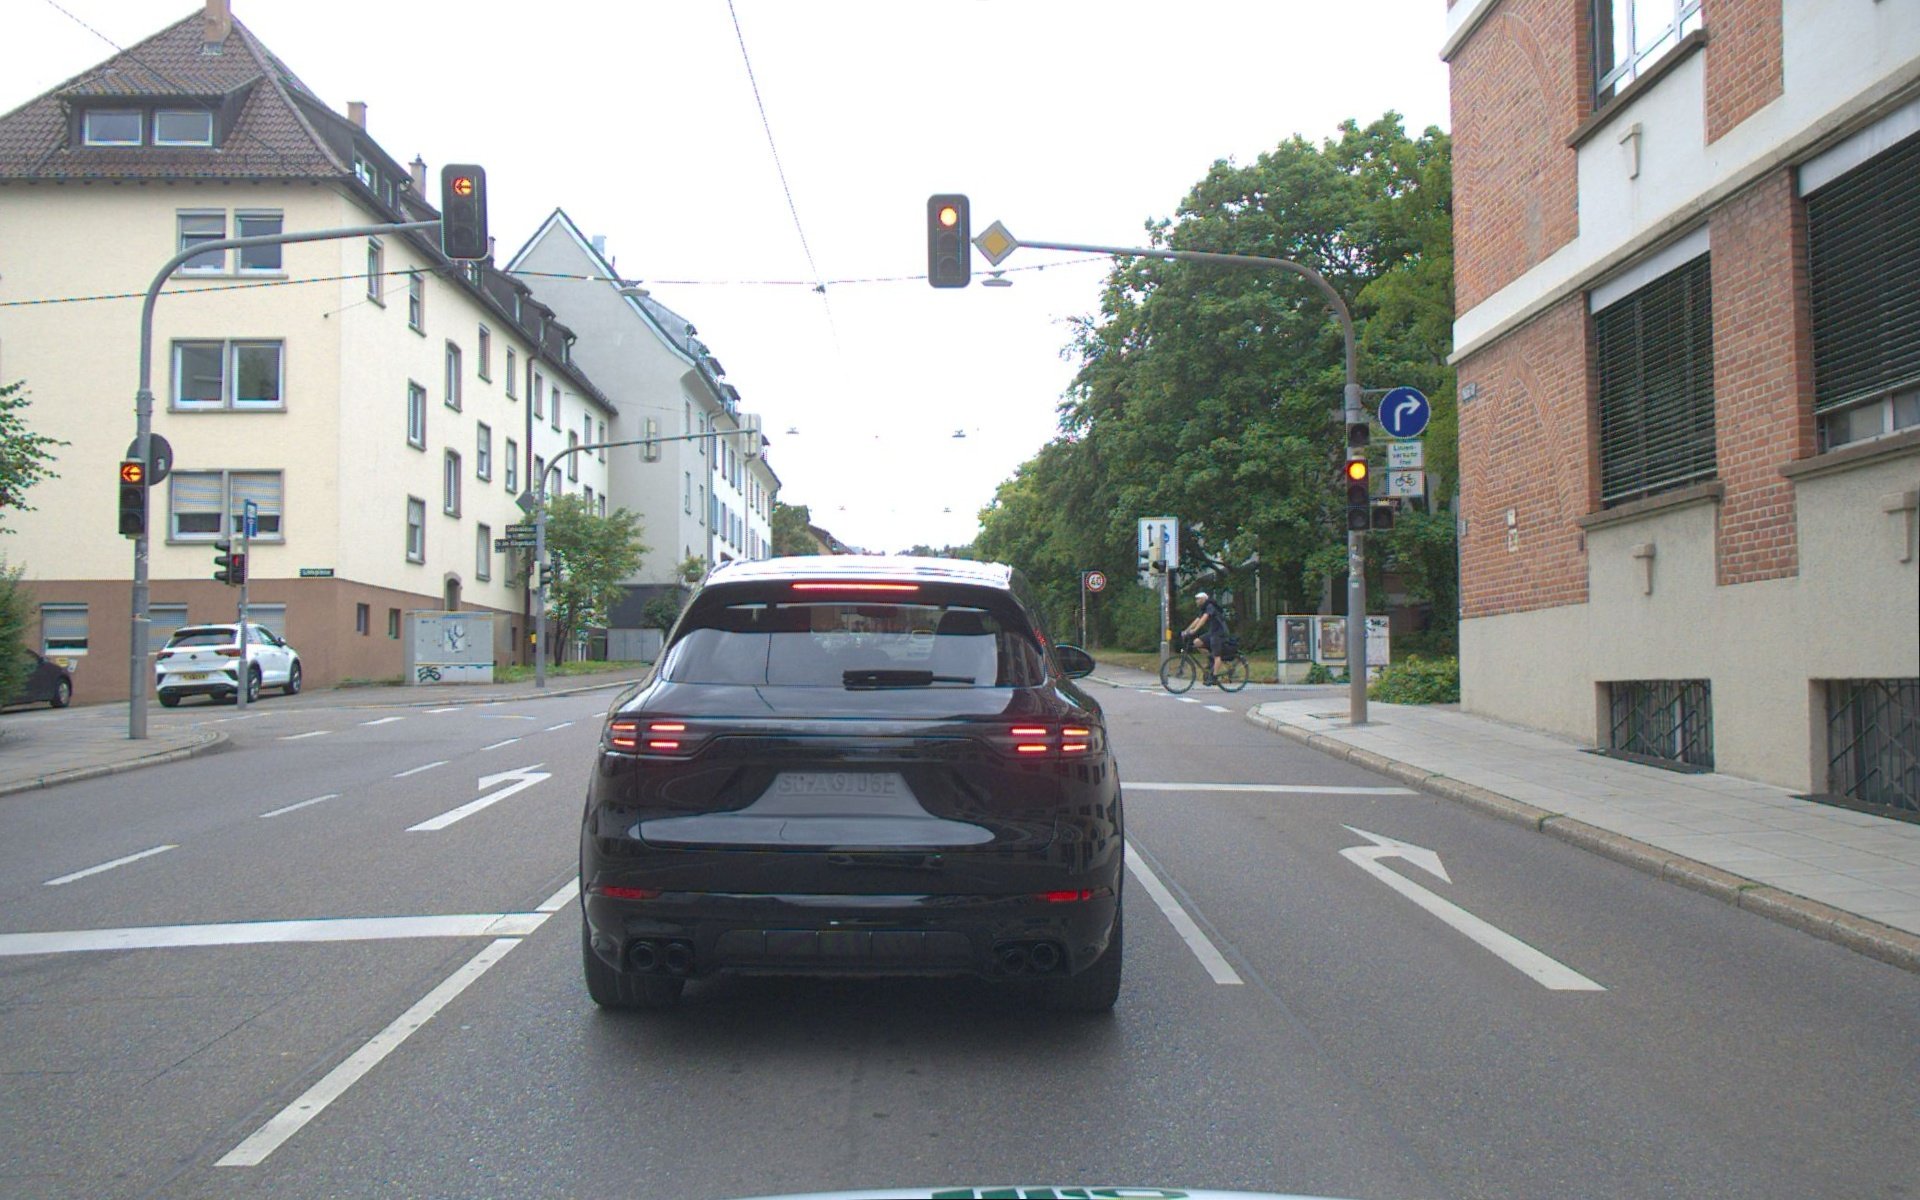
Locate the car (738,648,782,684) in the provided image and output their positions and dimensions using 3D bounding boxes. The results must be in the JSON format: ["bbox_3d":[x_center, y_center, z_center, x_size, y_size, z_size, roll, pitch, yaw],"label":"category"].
[{"bbox_3d":[-8.372,2.753,69.489,1.637,1.386,3.997,0,0,-4],"label":"car"}]

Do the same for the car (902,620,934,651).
[{"bbox_3d":[-2.275,1.921,89.528,1.654,1.579,3.887,1,0,-2],"label":"car"}]

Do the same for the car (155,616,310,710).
[{"bbox_3d":[-14.736,1.227,33.710,1.638,1.691,3.995,-3,0,-5],"label":"car"}]

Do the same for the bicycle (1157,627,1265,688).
[{"bbox_3d":[4.687,1.076,30.896,1.872,1.100,0.701,1,0,-12],"label":"bicycle"}]

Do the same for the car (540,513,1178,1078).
[{"bbox_3d":[-0.337,0.618,7.142,1.953,1.726,3.999,1,0,-1],"label":"car"}]

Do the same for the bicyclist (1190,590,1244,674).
[{"bbox_3d":[4.803,0.596,30.923,0.795,1.546,0.704,1,-1,-12],"label":"bicyclist"}]

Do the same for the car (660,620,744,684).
[{"bbox_3d":[-7.011,1.373,45.179,1.630,1.545,3.739,-4,0,0],"label":"car"}]

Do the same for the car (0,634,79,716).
[{"bbox_3d":[-19.719,1.551,33.414,1.636,1.573,4.100,-3,0,-1],"label":"car"}]
